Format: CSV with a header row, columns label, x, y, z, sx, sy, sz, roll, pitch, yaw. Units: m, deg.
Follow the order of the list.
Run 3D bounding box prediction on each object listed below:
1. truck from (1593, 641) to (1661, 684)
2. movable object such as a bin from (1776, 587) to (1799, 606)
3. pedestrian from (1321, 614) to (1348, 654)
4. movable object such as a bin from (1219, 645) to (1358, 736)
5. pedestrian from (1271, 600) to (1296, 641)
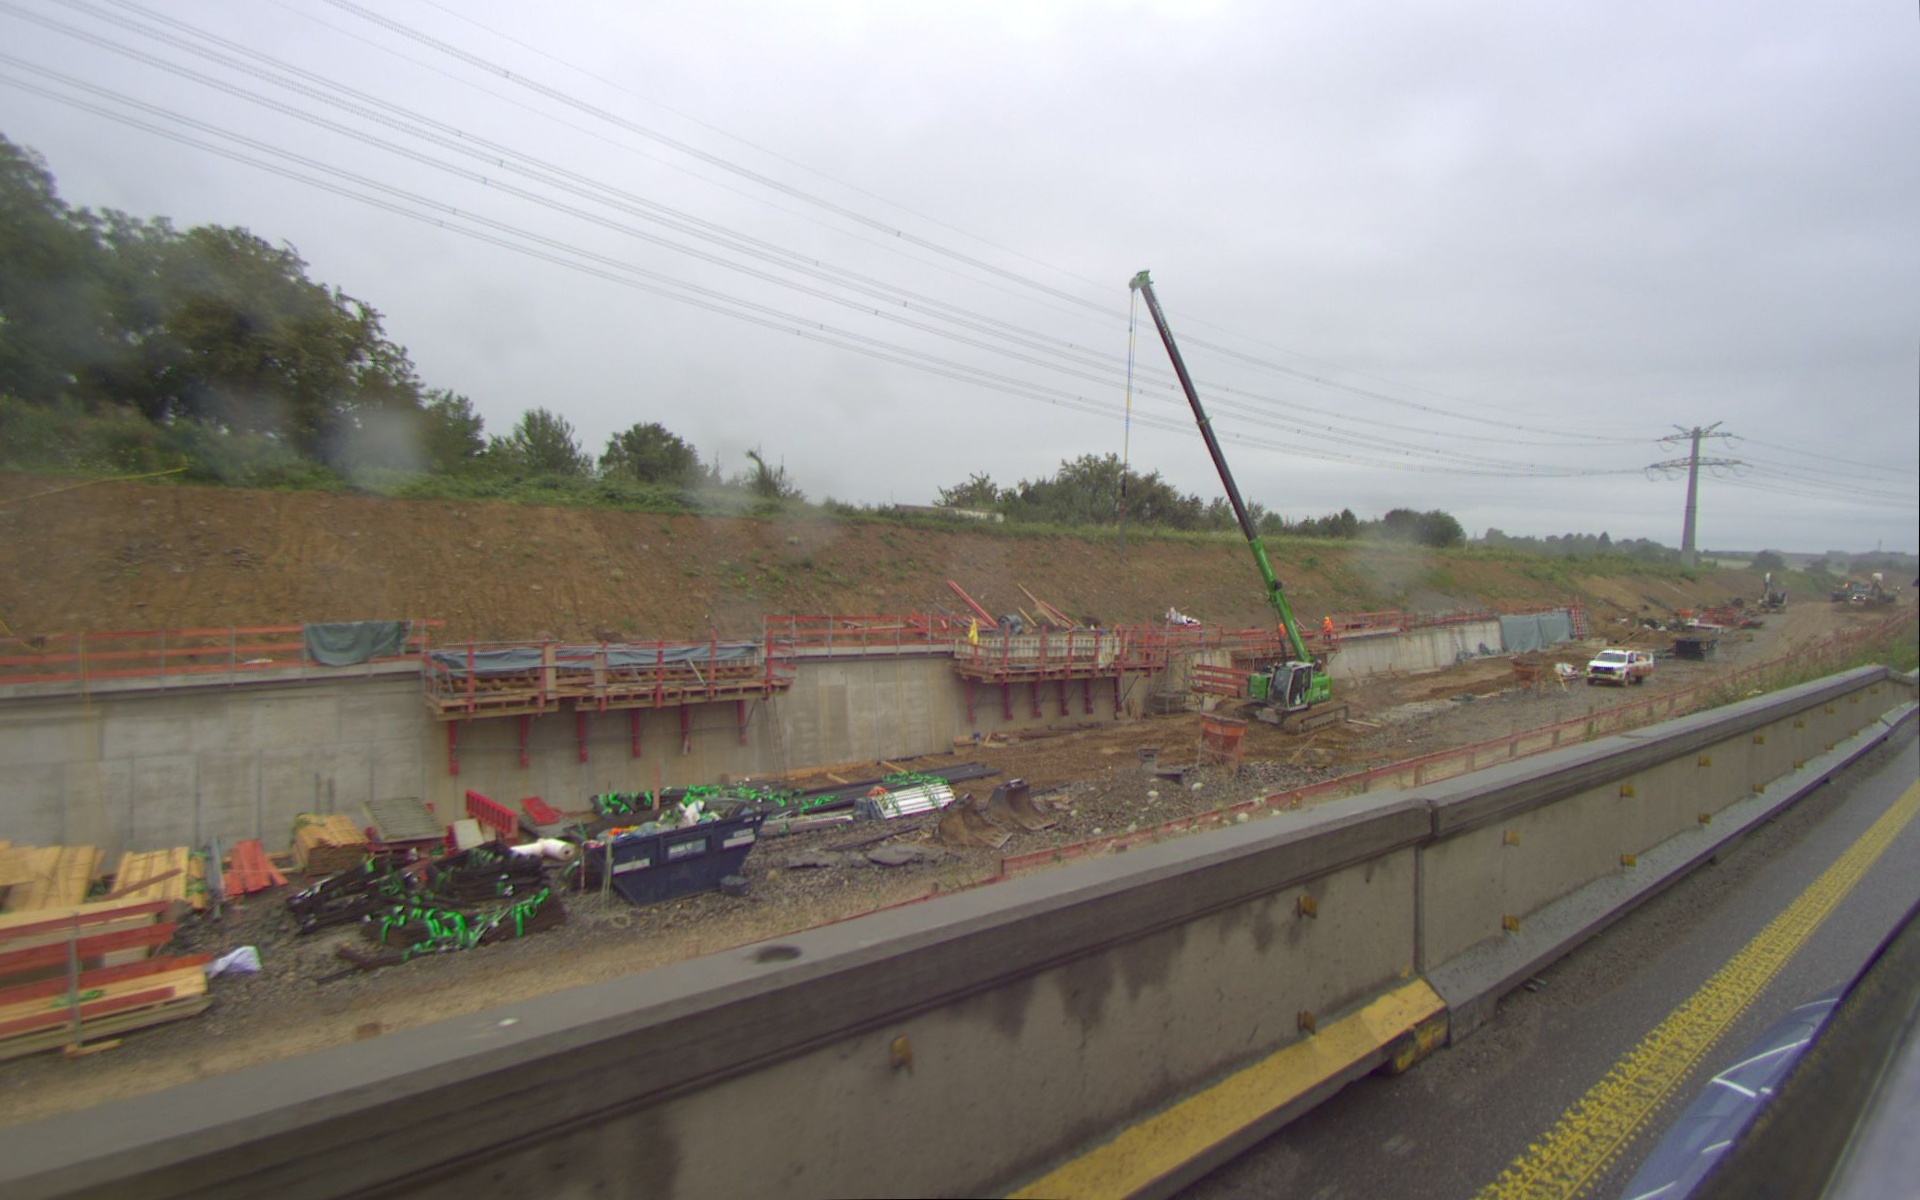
label,x,y,z,sx,sy,sz,roll,pitch,yaw
truck,36.593,3.388,55.453,5.689,1.894,1.765,-1,3,-43
movable object such as a bin,120.099,-0.530,146.822,2.246,2.753,3.937,-1,0,44
pedestrian,22.221,2.001,60.050,0.988,2.260,0.917,-2,-3,-39
movable object such as a bin,14.048,3.735,43.233,4.778,2.836,3.796,-8,6,-43
pedestrian,18.880,1.185,59.051,0.915,2.275,0.990,-6,-4,44
